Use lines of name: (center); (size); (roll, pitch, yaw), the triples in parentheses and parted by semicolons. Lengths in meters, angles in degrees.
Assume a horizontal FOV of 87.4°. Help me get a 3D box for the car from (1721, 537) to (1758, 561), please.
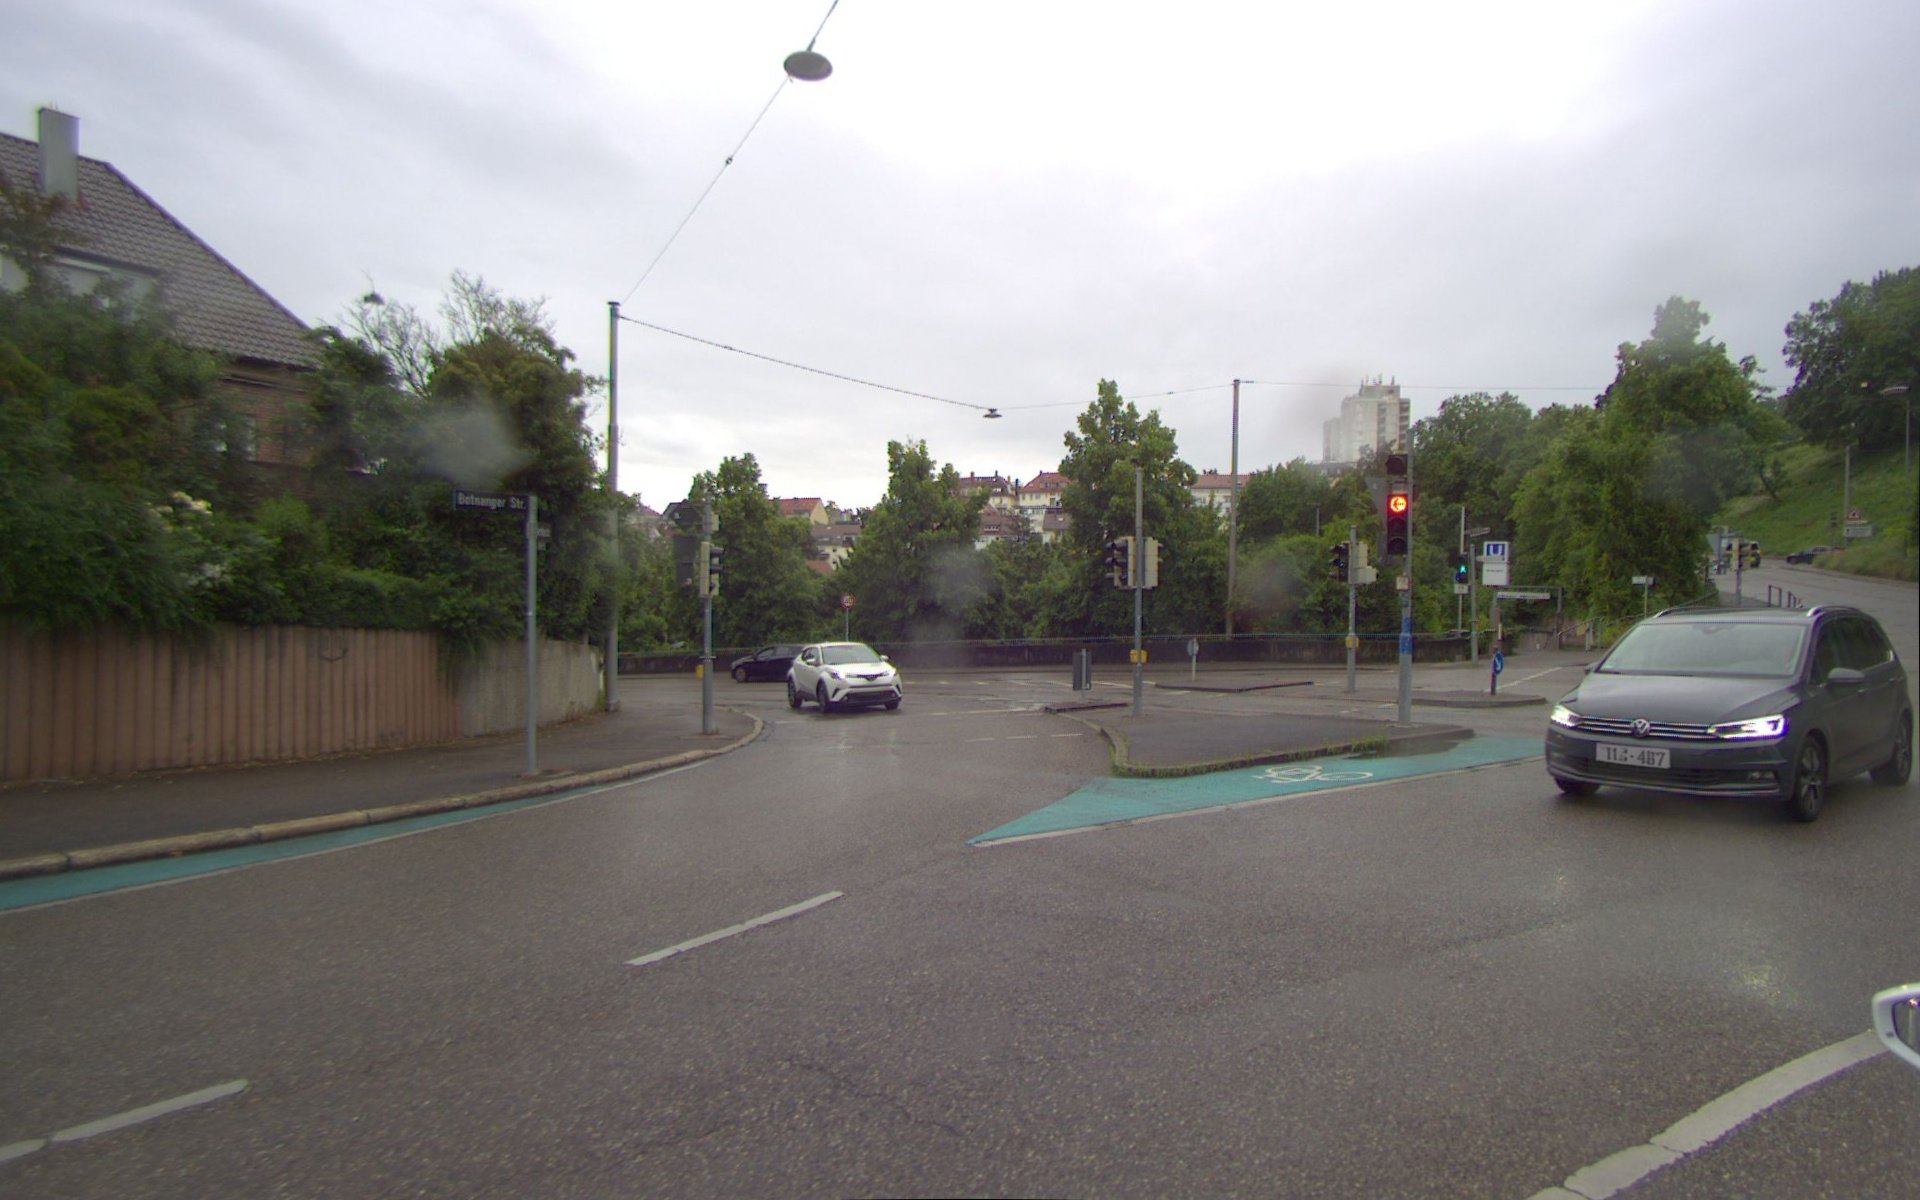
car: (60.672, -3.945, 78.256); (1.891, 1.805, 3.989); (1, 2, 33)

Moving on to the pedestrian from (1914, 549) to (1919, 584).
pedestrian: (50.848, -1.764, 52.883); (0.871, 1.759, 0.861); (1, -1, 41)

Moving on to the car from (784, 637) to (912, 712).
car: (-2.670, 1.675, 23.227); (1.812, 1.527, 3.862); (-1, -3, -25)

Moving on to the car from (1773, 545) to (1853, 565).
car: (66.731, -3.523, 78.641); (1.932, 1.532, 4.385); (-1, 2, -18)

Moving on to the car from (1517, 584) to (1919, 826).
car: (6.973, 0.779, 9.048); (4.132, 1.702, 1.836); (0, -2, -36)
